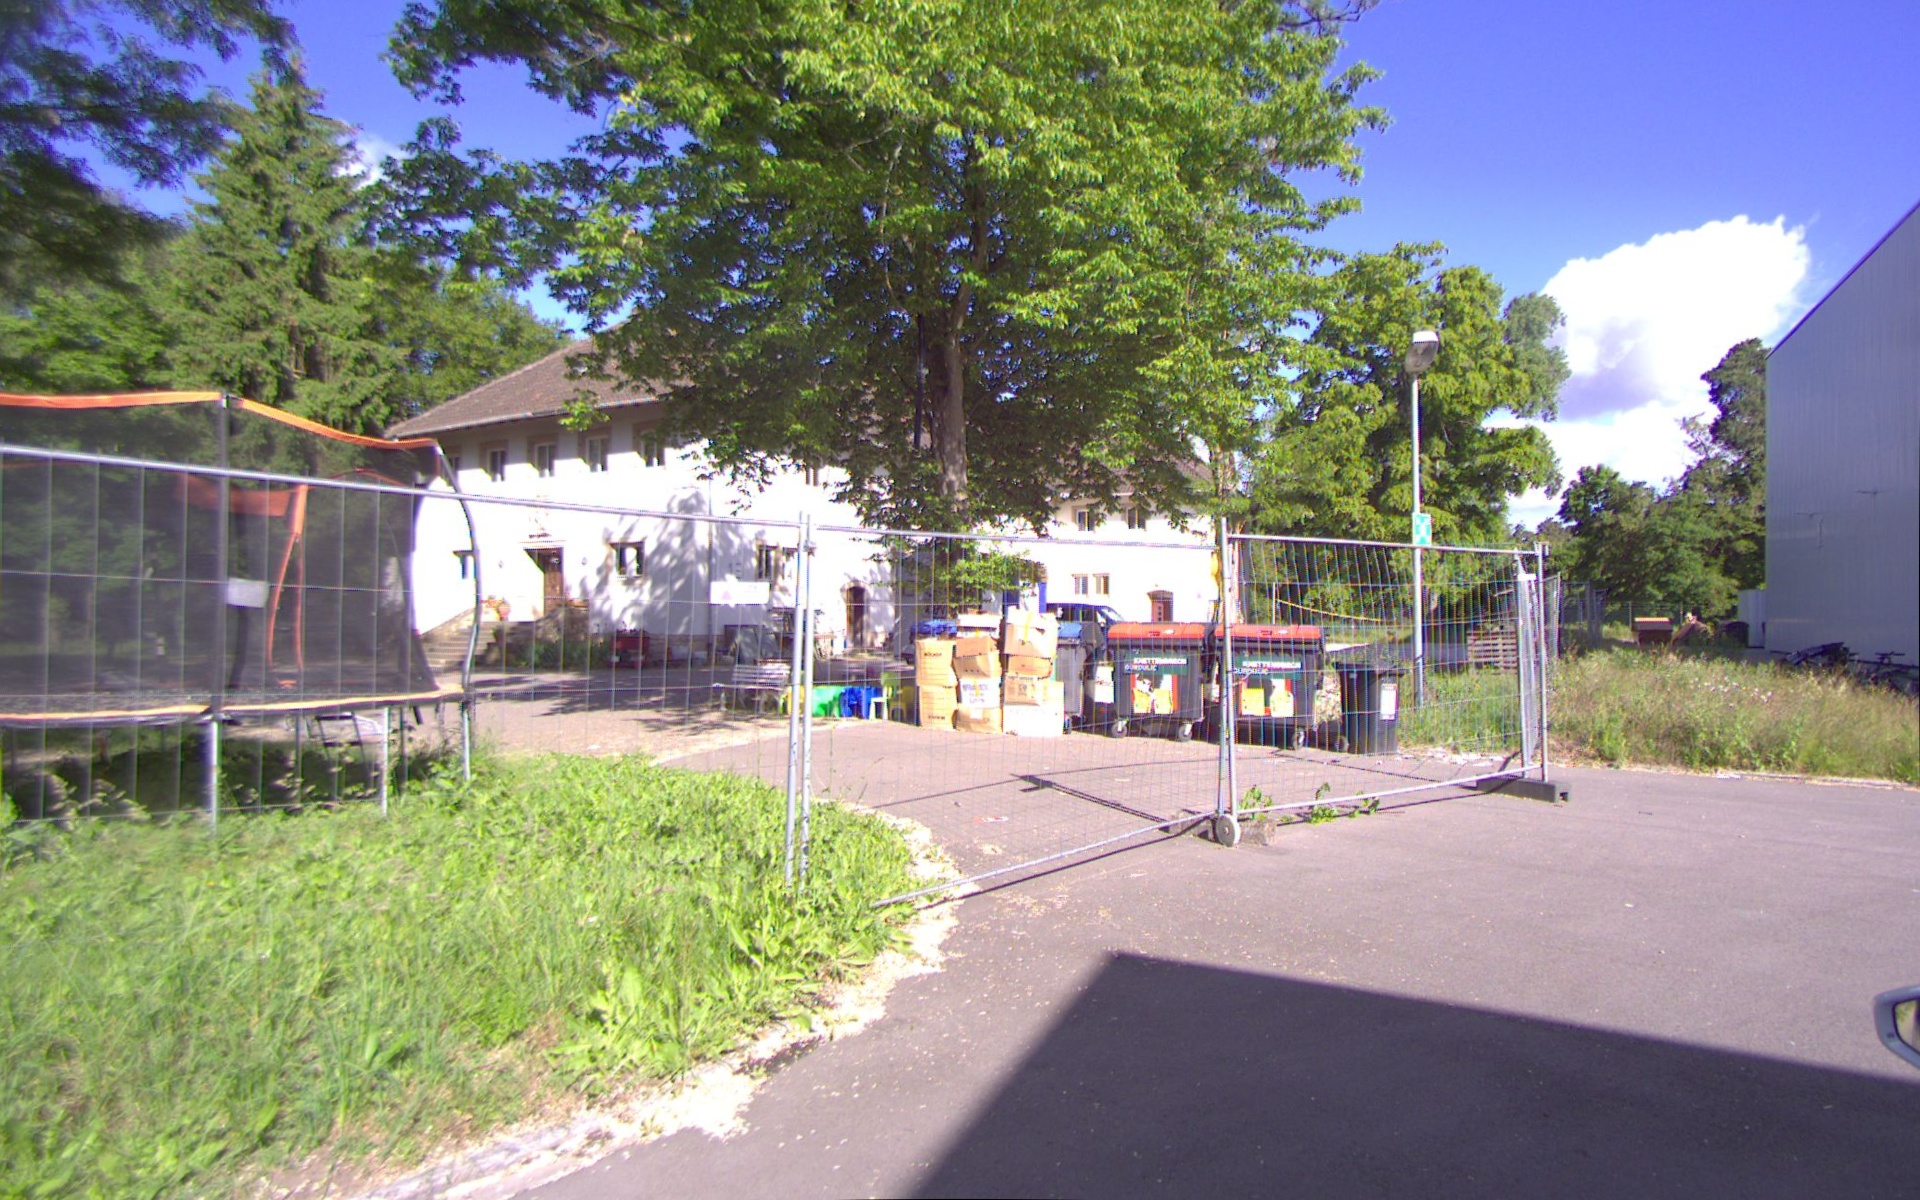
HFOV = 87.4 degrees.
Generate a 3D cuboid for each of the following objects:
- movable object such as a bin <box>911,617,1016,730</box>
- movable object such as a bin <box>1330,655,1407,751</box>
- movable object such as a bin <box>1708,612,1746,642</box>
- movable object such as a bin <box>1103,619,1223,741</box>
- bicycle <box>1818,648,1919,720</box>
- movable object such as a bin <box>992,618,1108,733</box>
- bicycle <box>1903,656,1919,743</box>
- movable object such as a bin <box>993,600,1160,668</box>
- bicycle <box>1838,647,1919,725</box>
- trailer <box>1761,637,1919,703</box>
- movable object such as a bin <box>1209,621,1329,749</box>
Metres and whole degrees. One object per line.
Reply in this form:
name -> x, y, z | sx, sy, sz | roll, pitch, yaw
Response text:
movable object such as a bin -> 0.056, 0.968, 13.749 | 1.068, 1.457, 1.054 | -1, -1, 30
movable object such as a bin -> 4.643, 1.155, 11.431 | 0.635, 1.020, 0.601 | -1, -1, 44
movable object such as a bin -> 43.555, 1.539, 57.052 | 1.343, 1.678, 2.836 | -1, -1, 30
movable object such as a bin -> 2.571, 0.973, 12.693 | 1.267, 1.445, 1.031 | -1, -1, 26
bicycle -> 15.155, 1.350, 16.256 | 1.855, 1.118, 0.433 | -1, -1, 28
movable object such as a bin -> 1.219, 0.971, 13.433 | 1.267, 1.445, 1.031 | -1, -1, 26
bicycle -> 13.210, 1.279, 12.665 | 1.855, 1.096, 0.433 | -1, -1, 28
movable object such as a bin -> 3.613, 1.043, 31.230 | 4.796, 1.996, 1.931 | -1, -1, 26
bicycle -> 14.405, 1.287, 15.010 | 1.855, 1.141, 0.433 | -1, -1, 28
trailer -> 17.453, 1.332, 19.562 | 2.670, 1.215, 1.244 | -1, -1, 28
movable object such as a bin -> 3.742, 0.982, 12.129 | 1.267, 1.445, 1.032 | -1, -1, 25
